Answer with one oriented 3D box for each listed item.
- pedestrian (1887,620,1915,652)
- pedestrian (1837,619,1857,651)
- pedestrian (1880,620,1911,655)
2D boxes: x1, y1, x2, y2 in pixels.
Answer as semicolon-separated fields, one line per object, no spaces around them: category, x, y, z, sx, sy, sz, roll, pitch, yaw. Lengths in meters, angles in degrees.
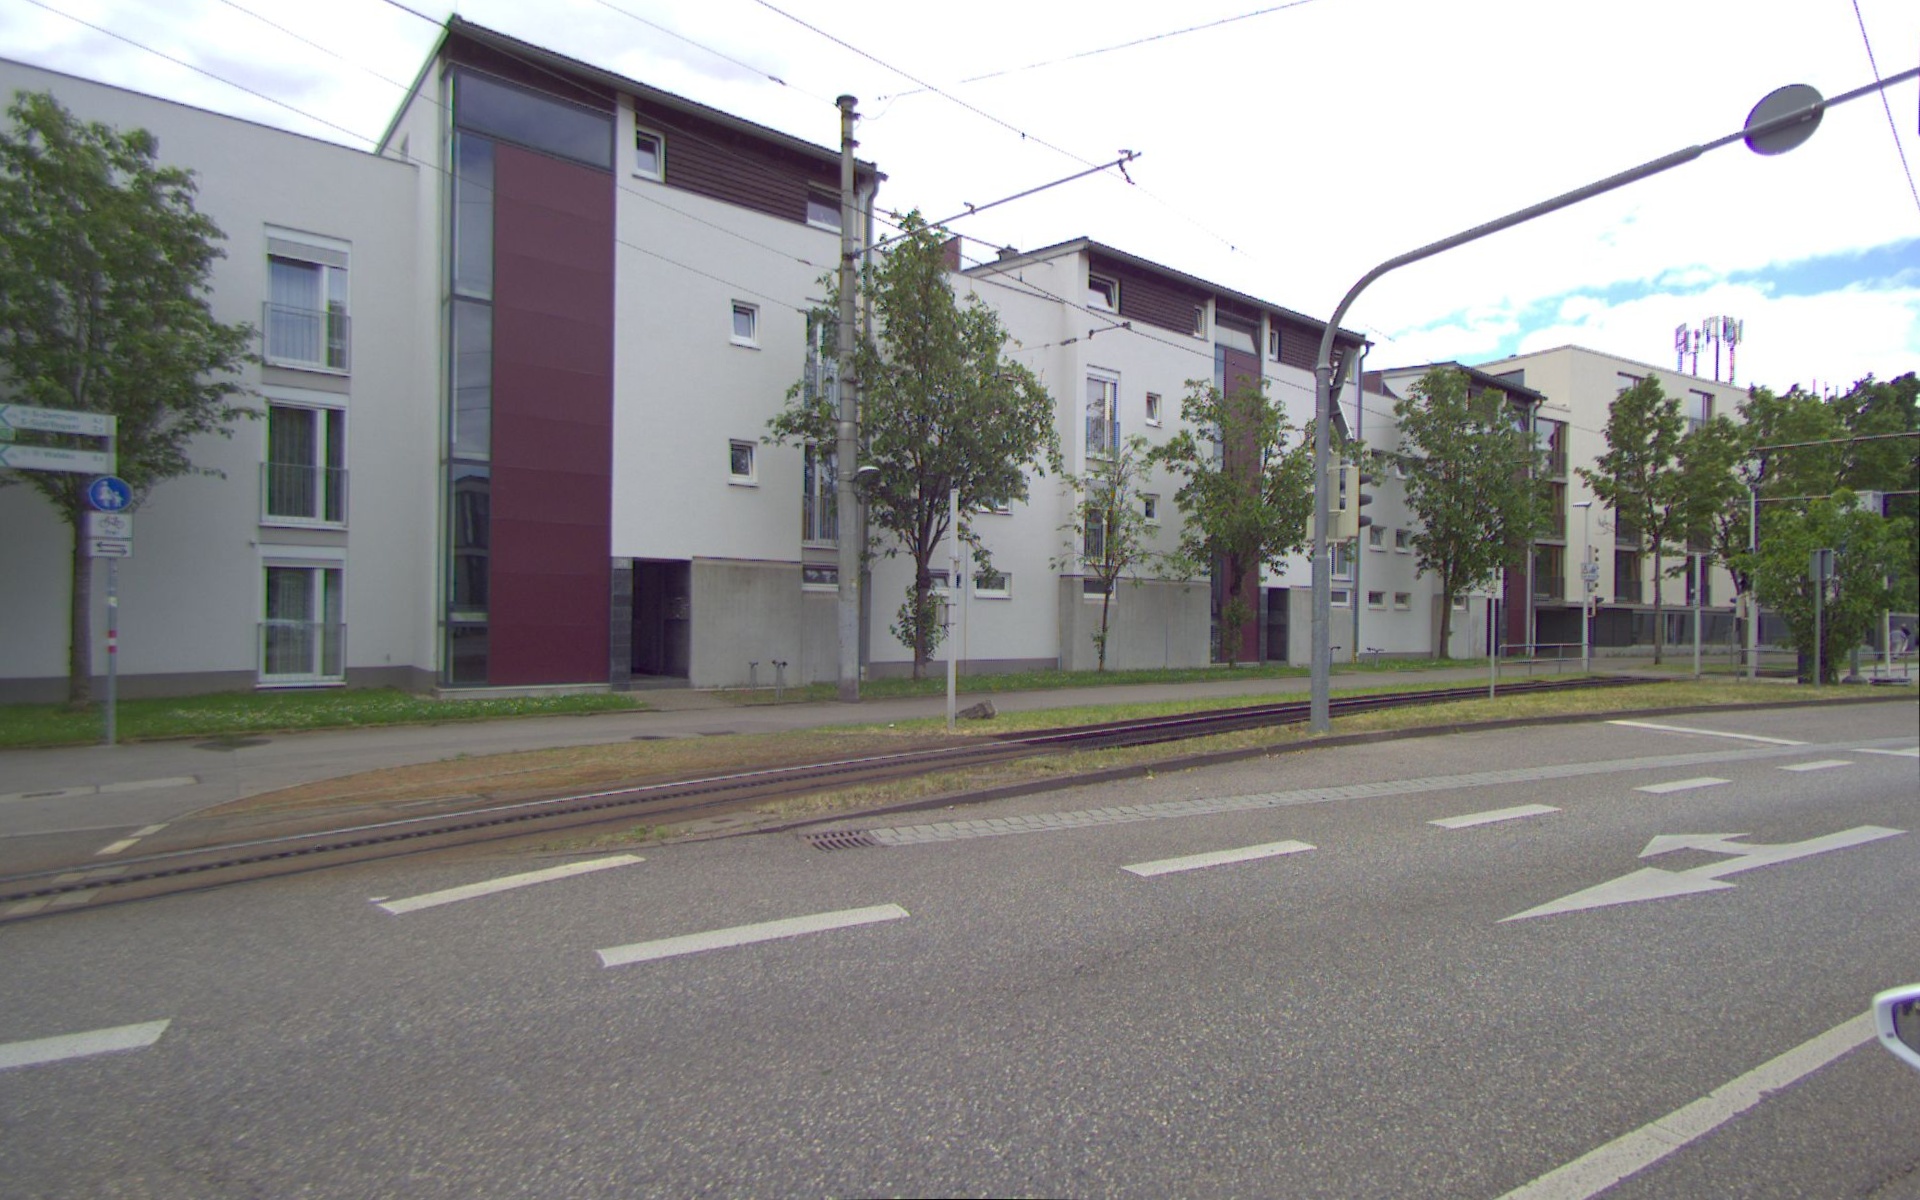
pedestrian;52.981;2.035;56.541;0.896;1.742;0.915;1;-1;-30
pedestrian;49.400;1.946;55.929;0.776;1.717;0.610;2;0;-30
pedestrian;47.126;1.879;50.582;0.896;1.742;0.915;1;-1;-30
